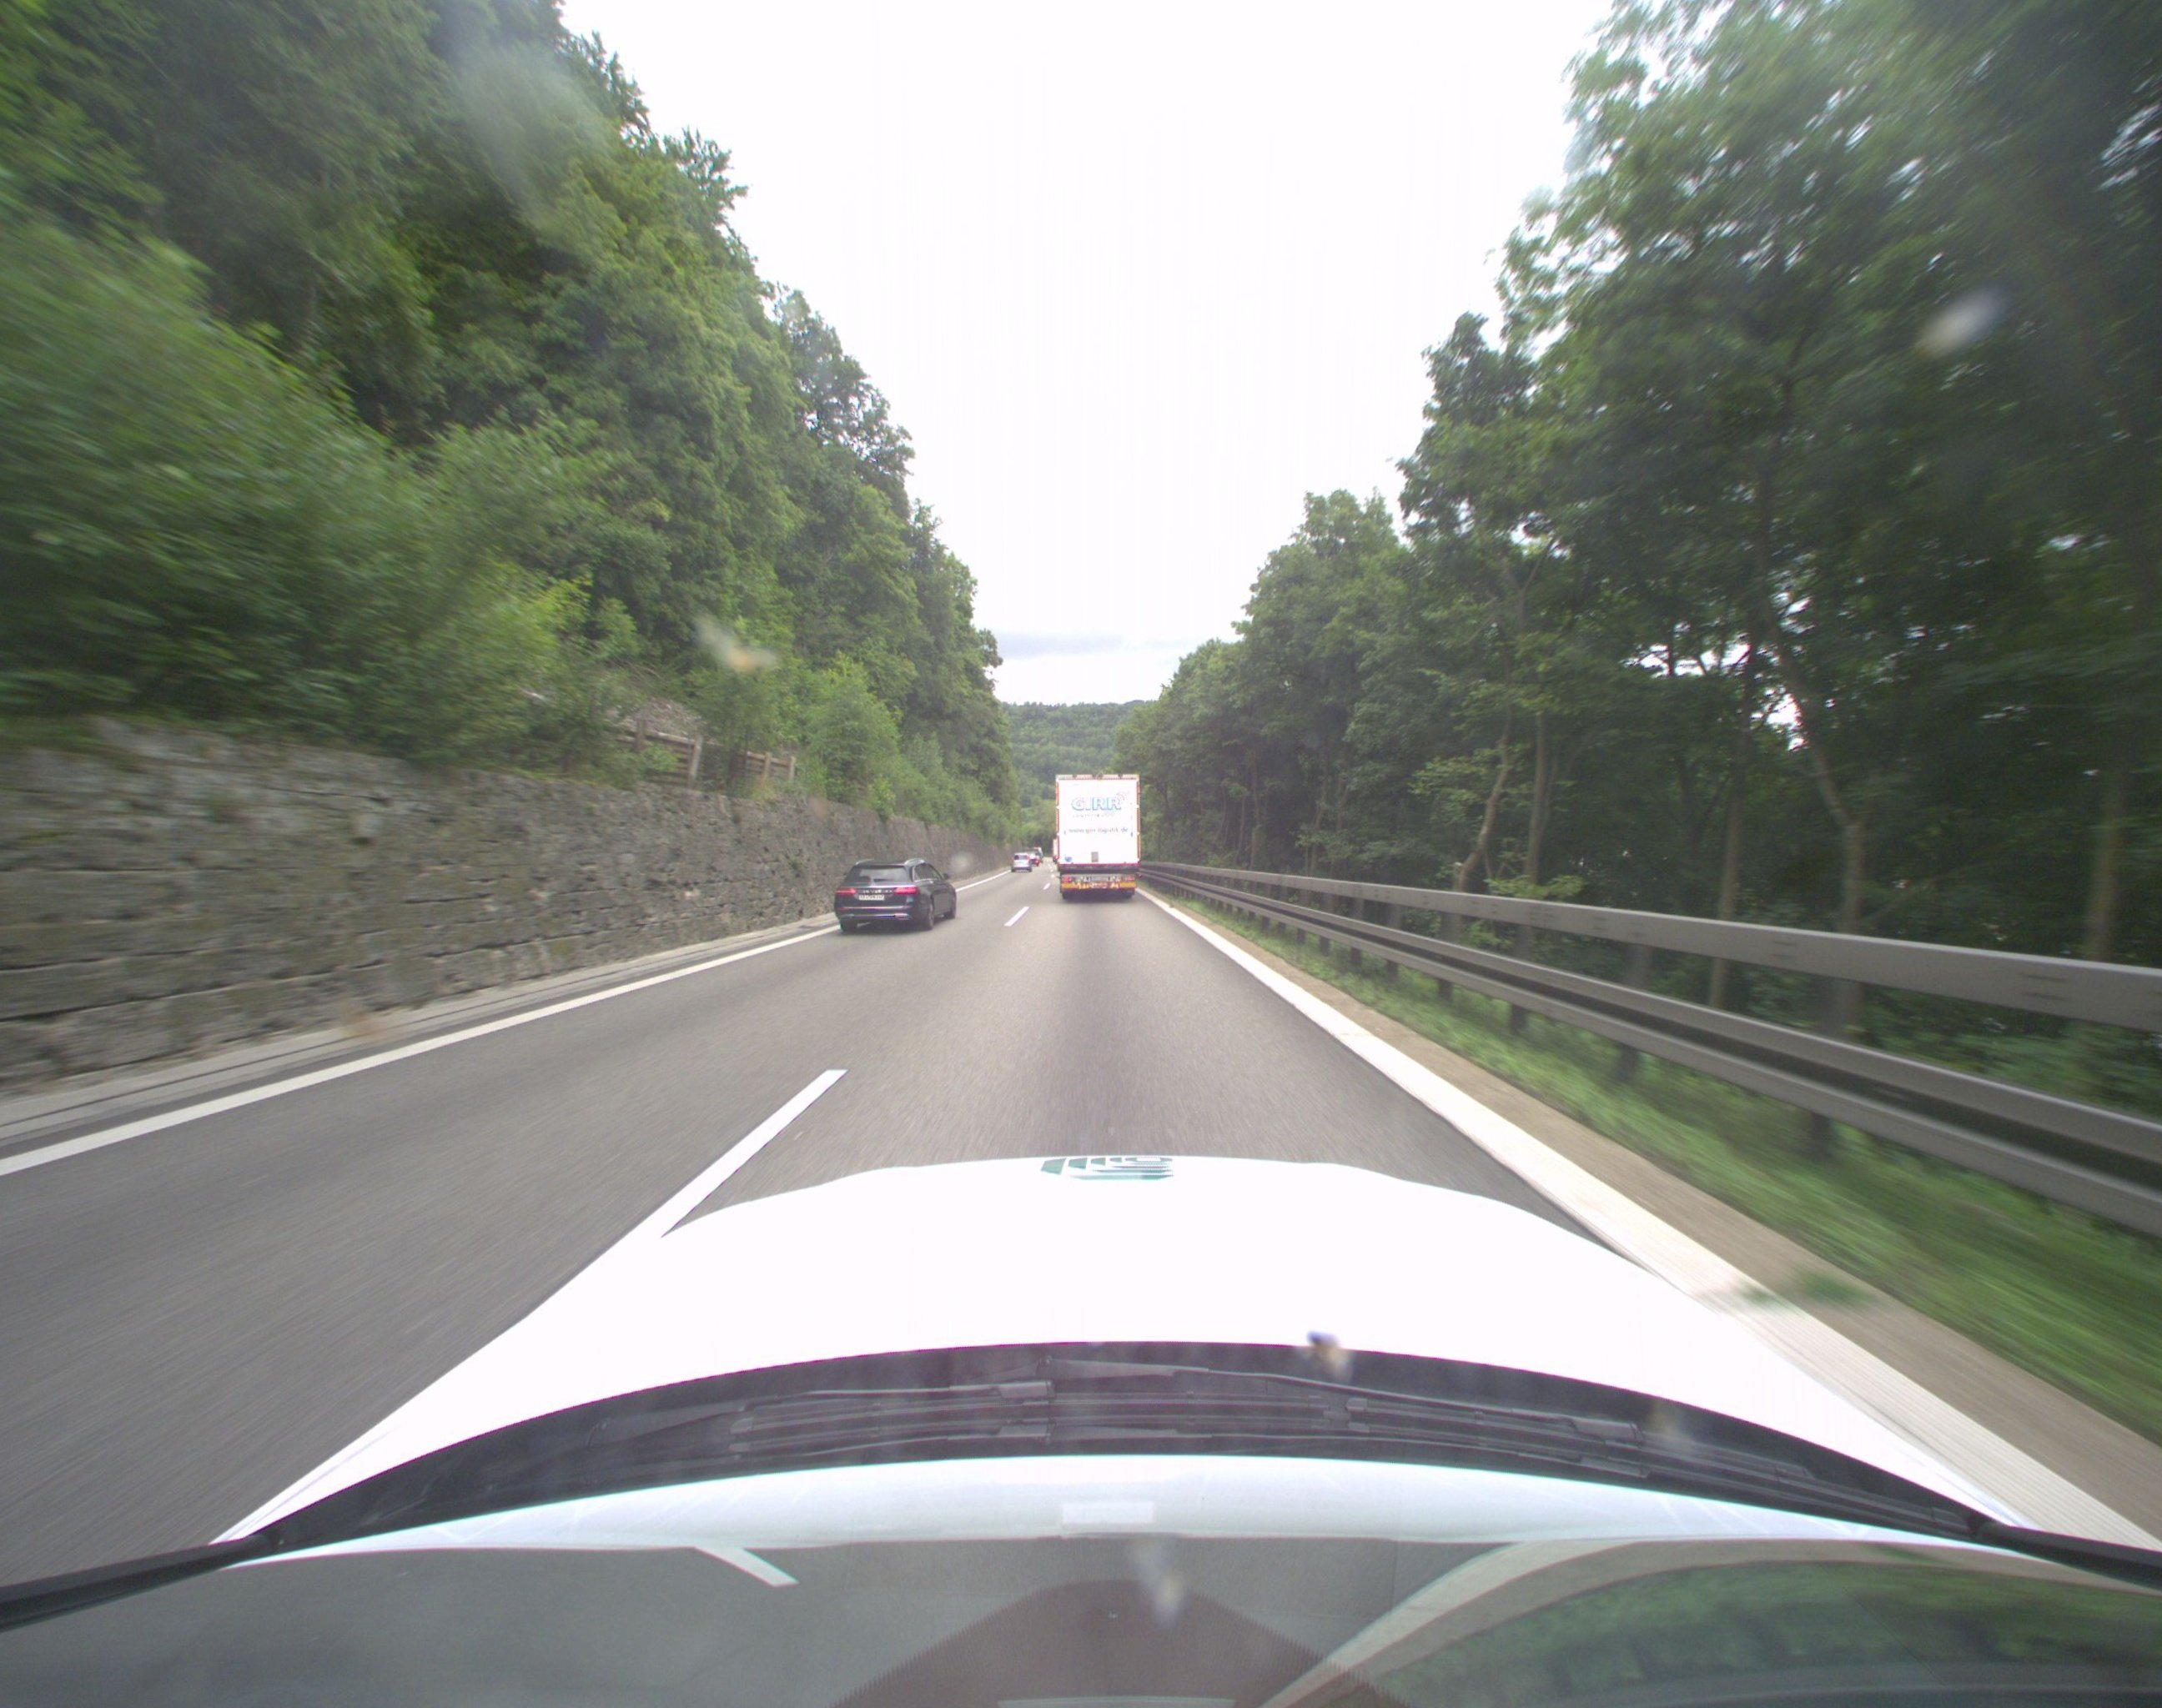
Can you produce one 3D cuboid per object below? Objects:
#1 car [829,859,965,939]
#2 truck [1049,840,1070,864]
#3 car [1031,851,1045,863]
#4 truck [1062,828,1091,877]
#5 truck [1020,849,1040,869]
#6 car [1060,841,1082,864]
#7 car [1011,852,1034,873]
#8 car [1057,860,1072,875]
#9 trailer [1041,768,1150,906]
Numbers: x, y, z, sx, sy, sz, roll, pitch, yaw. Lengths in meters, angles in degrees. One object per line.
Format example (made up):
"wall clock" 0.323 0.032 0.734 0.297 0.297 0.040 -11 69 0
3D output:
"car" -3.863 0.882 18.065 1.754 1.463 5.123 0 0 1
"truck" -3.779 -0.269 141.078 3.063 3.877 8.444 2 -1 -5
"car" -6.980 0.476 131.669 2.012 1.914 5.561 2 0 -1
"truck" -0.314 -0.091 67.634 2.226 3.804 6.823 2 -1 1
"truck" -6.290 0.624 101.302 2.343 2.274 6.843 2 0 -2
"car" -0.920 -0.133 75.957 1.987 2.014 4.332 2 -1 0
"car" -4.954 0.704 69.561 1.629 1.726 4.344 1 0 0
"car" -2.380 1.960 117.430 1.988 2.014 3.998 2 -1 -1
"trailer" 0.408 -0.533 29.359 3.123 4.042 9.436 3 0 -1
